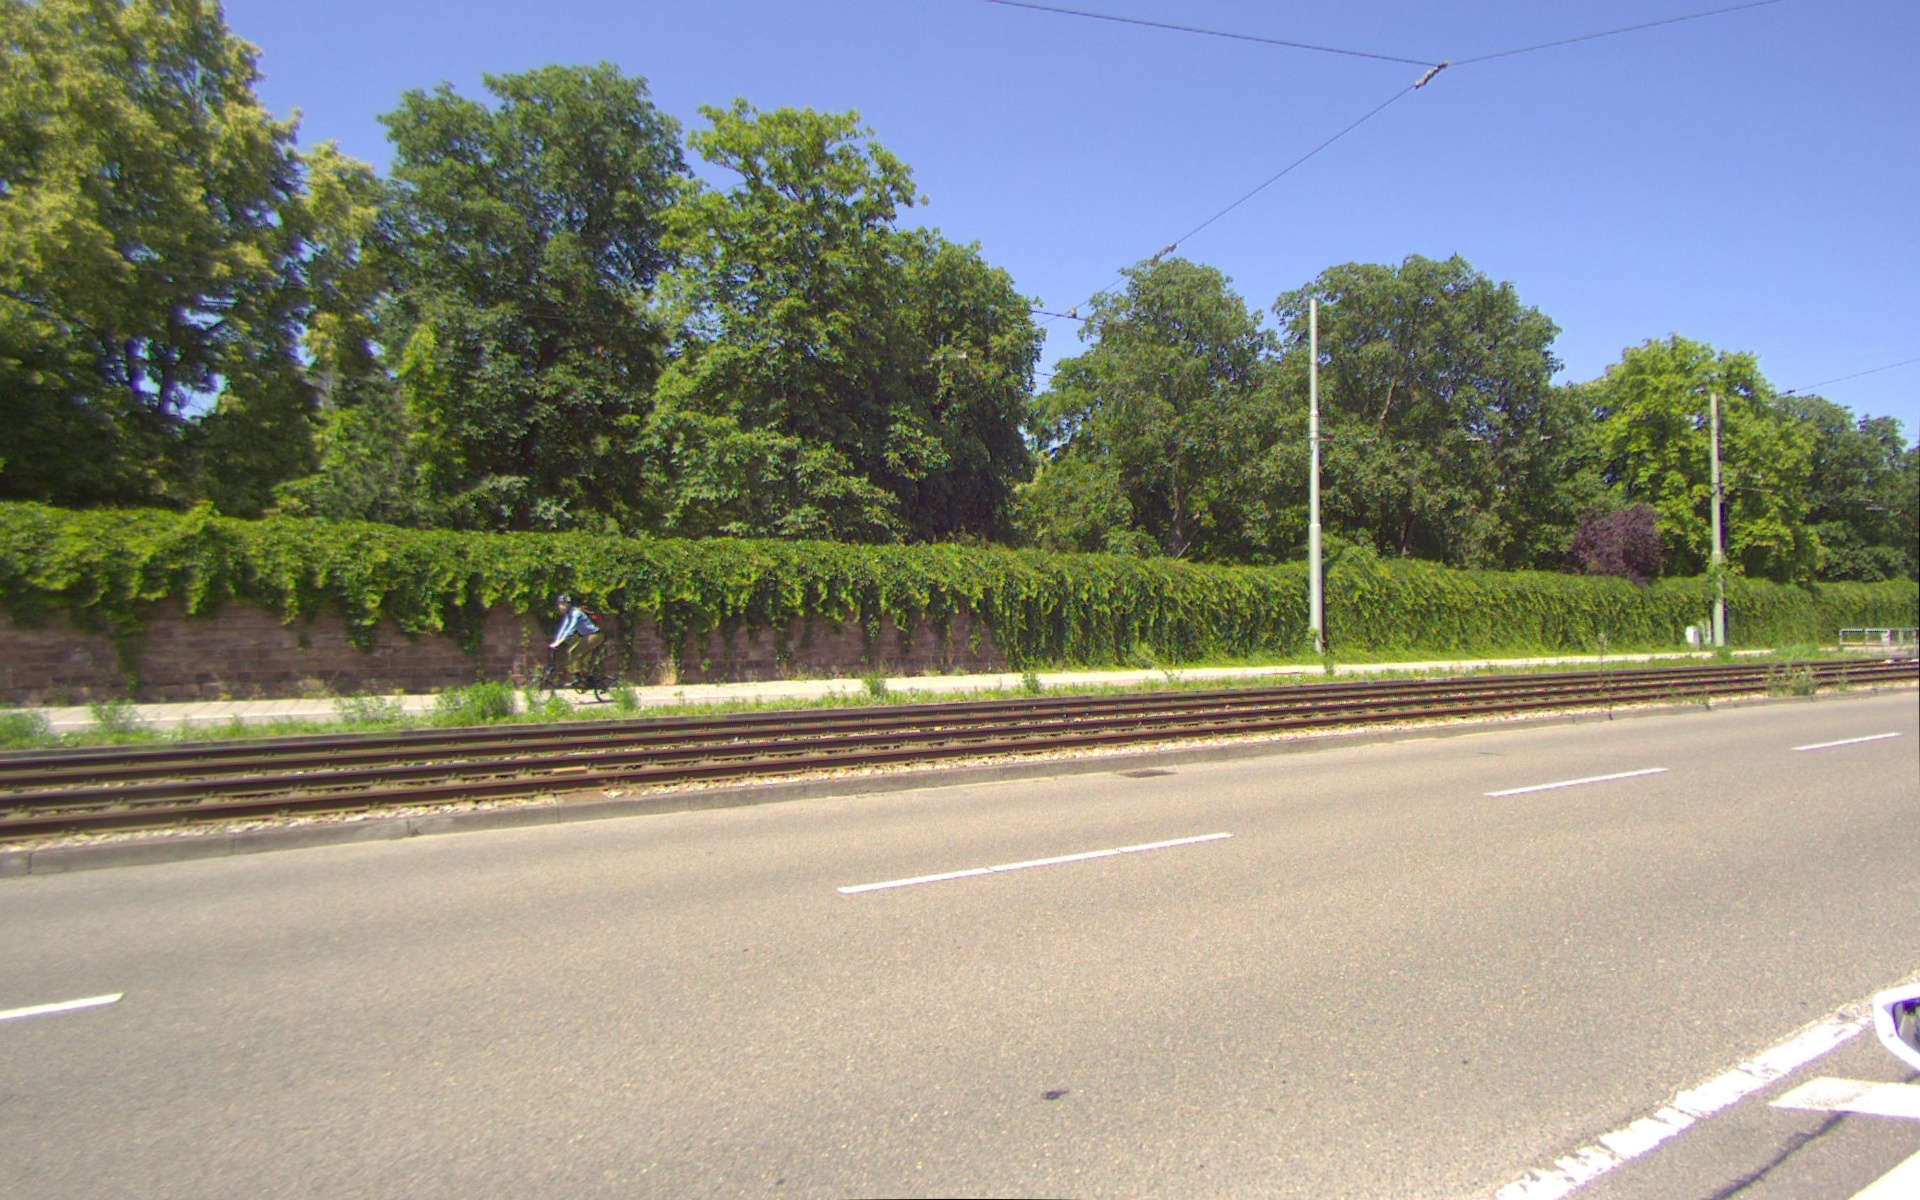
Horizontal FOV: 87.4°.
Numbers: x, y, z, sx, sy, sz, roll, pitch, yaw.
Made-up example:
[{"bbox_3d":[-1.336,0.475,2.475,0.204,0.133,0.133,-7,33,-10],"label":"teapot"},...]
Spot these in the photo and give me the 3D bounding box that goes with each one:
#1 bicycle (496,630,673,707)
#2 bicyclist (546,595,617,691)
[{"bbox_3d":[-6.115,1.081,16.426,2.651,1.171,0.825,0,-1,-27],"label":"bicycle"},{"bbox_3d":[-6.196,0.690,16.407,0.987,1.506,0.991,0,-1,-27],"label":"bicyclist"}]
